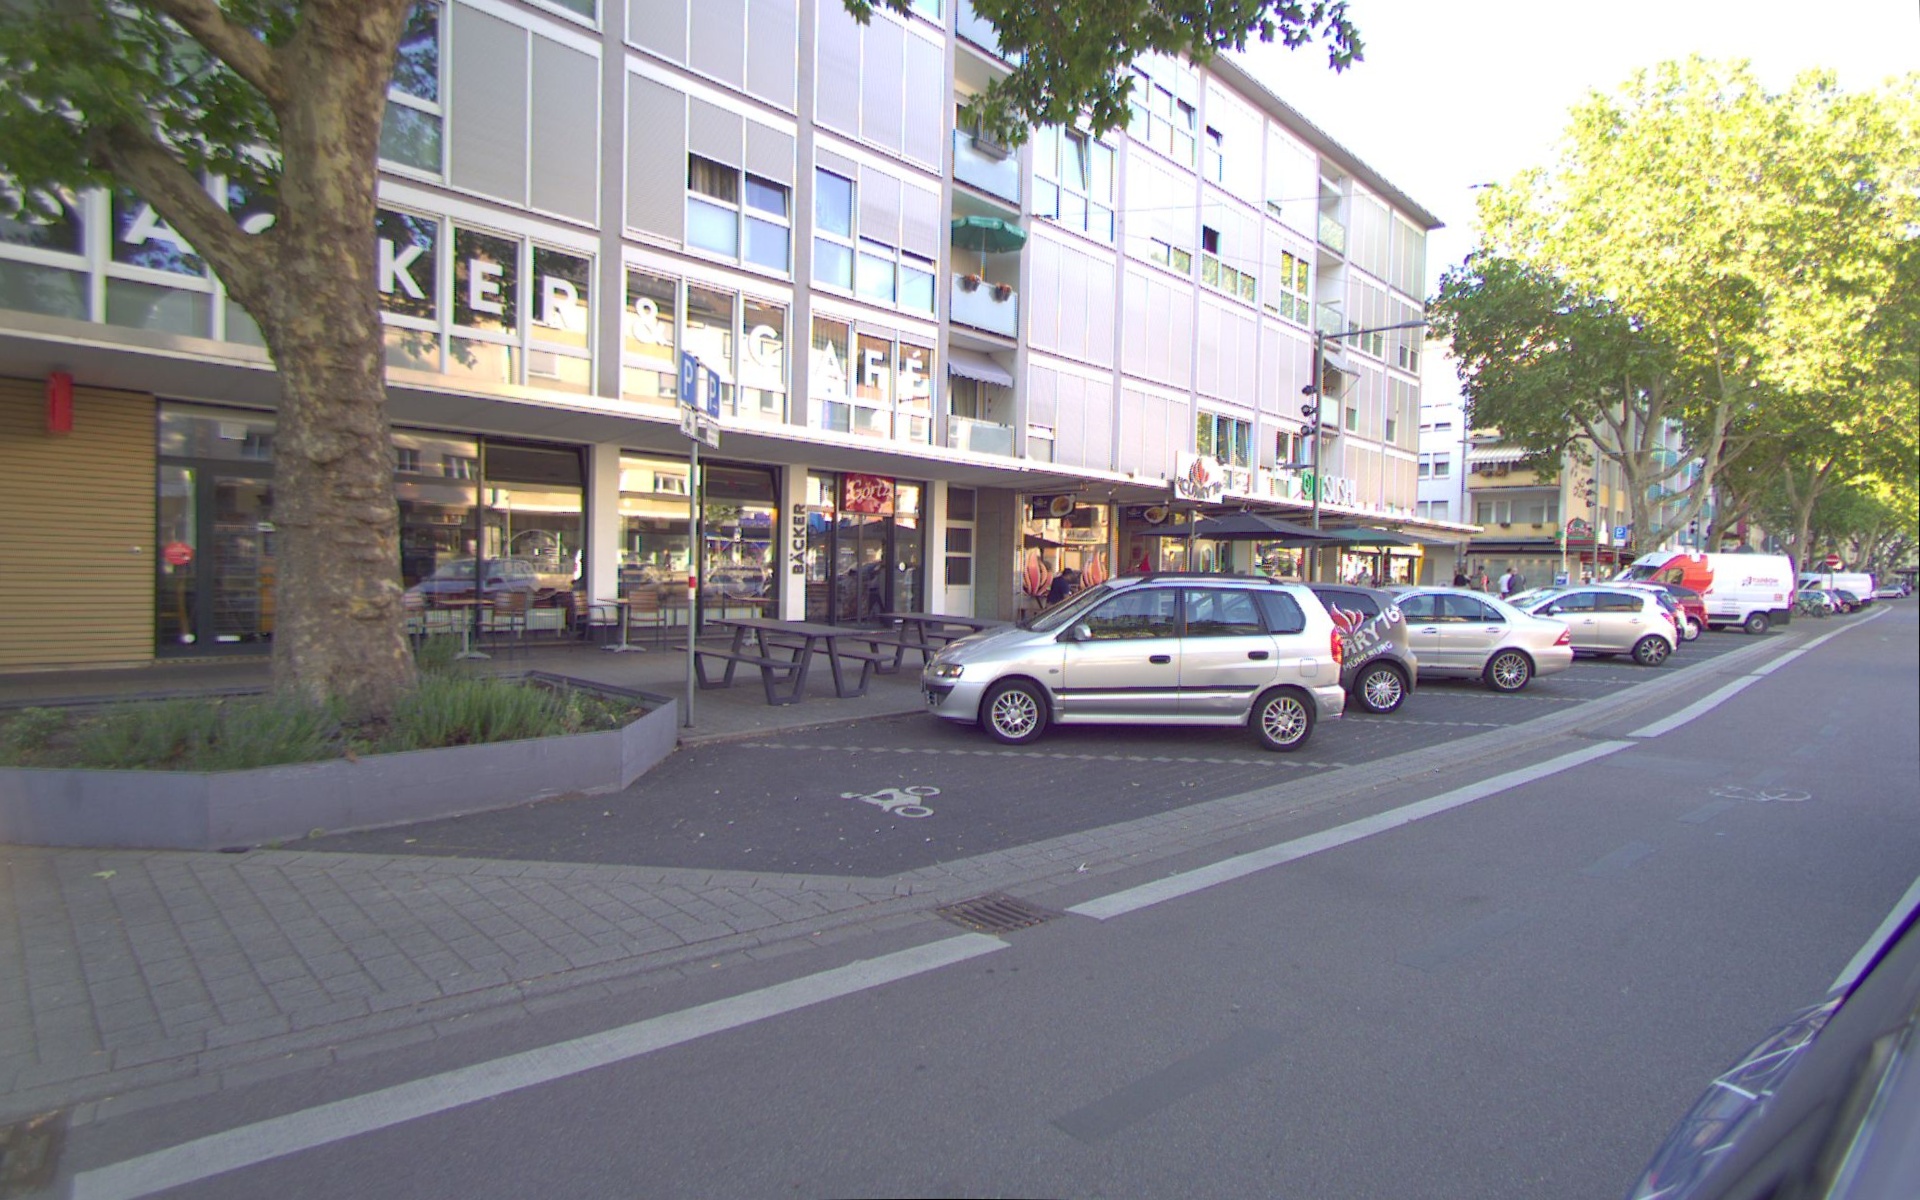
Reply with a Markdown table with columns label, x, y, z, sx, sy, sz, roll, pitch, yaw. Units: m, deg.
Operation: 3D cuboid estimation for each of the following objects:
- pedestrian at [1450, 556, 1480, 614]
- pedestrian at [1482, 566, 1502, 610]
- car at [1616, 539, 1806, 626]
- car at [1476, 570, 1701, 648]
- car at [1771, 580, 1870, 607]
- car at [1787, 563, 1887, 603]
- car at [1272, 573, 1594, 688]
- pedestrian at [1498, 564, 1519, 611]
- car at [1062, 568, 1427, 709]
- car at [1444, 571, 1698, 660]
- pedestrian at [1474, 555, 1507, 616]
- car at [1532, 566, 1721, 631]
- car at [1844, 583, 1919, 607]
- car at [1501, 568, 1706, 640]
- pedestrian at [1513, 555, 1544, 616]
| label | x | y | z | sx | sy | sz | roll | pitch | yaw |
| --- | --- | --- | --- | --- | --- | --- | --- | --- | --- |
| pedestrian | 17.492 | -0.523 | 35.041 | 0.746 | 2.000 | 0.566 | 2 | 2 | 45 |
| pedestrian | 20.353 | -0.472 | 38.714 | 0.536 | 1.660 | 0.470 | 2 | 2 | 45 |
| car | 23.710 | -0.563 | 32.081 | 4.514 | 2.525 | 1.675 | 2 | 1 | 5 |
| car | 13.978 | 0.157 | 22.767 | 3.886 | 1.446 | 1.670 | 3 | 3 | 16 |
| car | 48.118 | -0.374 | 56.635 | 3.864 | 1.422 | 1.782 | 1 | 2 | 3 |
| car | 56.410 | -1.108 | 65.183 | 4.512 | 2.499 | 1.977 | 1 | 1 | 3 |
| car | 6.774 | 0.397 | 14.793 | 3.867 | 1.418 | 1.598 | 2 | 3 | 1 |
| pedestrian | 20.726 | -0.480 | 38.260 | 0.544 | 1.741 | 0.450 | 2 | 2 | 45 |
| car | 3.319 | 0.420 | 12.306 | 3.864 | 1.446 | 1.679 | 2 | 3 | -3 |
| car | 11.842 | 0.257 | 19.805 | 3.871 | 1.446 | 1.559 | 3 | 3 | 4 |
| pedestrian | 18.035 | -0.489 | 34.414 | 0.746 | 2.038 | 0.752 | 2 | 2 | 45 |
| car | 18.079 | -0.094 | 27.657 | 3.888 | 1.445 | 1.669 | 3 | 5 | 17 |
| car | 56.541 | -0.323 | 61.515 | 3.864 | 1.350 | 1.782 | 1 | 2 | 3 |
| car | 15.909 | 0.049 | 25.232 | 3.888 | 1.445 | 1.669 | 4 | 5 | 17 |
| pedestrian | 19.139 | -0.502 | 34.078 | 0.746 | 2.038 | 0.550 | 2 | 2 | 45 |
